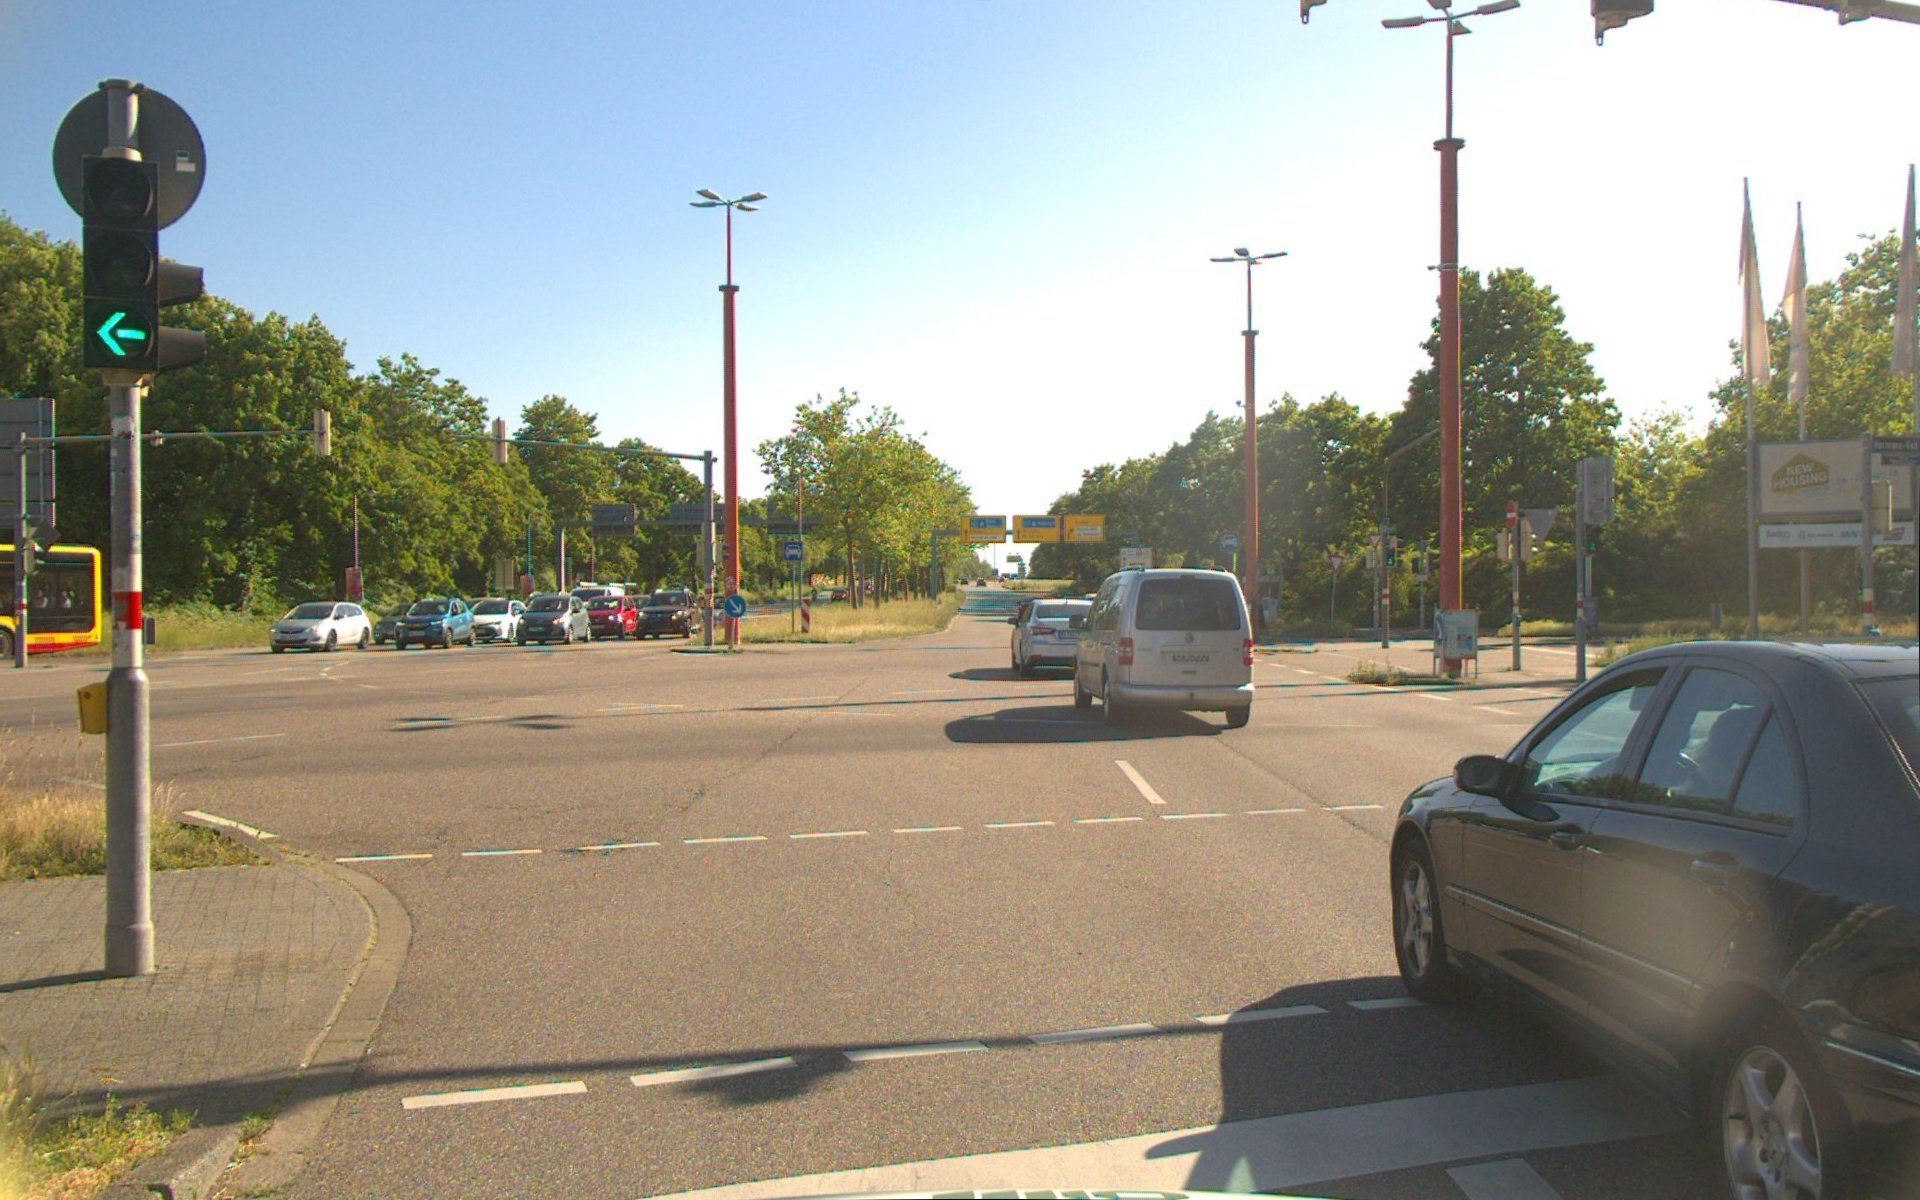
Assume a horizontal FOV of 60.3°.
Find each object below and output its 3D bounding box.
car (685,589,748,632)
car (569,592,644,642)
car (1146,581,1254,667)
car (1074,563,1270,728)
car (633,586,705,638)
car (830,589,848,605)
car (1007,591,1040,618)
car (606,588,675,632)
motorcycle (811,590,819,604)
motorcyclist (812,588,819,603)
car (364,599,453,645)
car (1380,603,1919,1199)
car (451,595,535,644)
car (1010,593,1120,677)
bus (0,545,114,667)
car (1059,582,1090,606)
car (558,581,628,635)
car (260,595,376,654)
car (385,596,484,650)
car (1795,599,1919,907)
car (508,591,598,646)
[{"bbox_3d":[-9.352,0.374,63.689,1.847,1.570,3.999,-2,0,-1],"label":"car"},{"bbox_3d":[-12.447,0.582,58.422,1.838,1.579,3.998,-3,0,-2],"label":"car"},{"bbox_3d":[5.609,0.517,39.247,1.767,1.884,5.102,-1,0,0],"label":"car"},{"bbox_3d":[2.553,0.524,20.974,1.768,1.853,4.585,0,0,-2],"label":"car"},{"bbox_3d":[-9.839,0.385,56.202,1.757,1.654,4.142,-2,0,-2],"label":"car"},{"bbox_3d":[-13.816,-0.359,188.987,1.876,1.878,3.960,0,0,-1],"label":"car"},{"bbox_3d":[3.583,0.272,93.687,1.727,1.466,4.295,1,0,1],"label":"car"},{"bbox_3d":[-12.407,0.366,64.422,1.862,1.658,4.000,0,0,1],"label":"car"},{"bbox_3d":[-17.377,-0.403,198.325,0.743,1.637,2.867,1,0,0],"label":"motorcycle"},{"bbox_3d":[-17.361,-0.486,198.322,0.757,1.768,0.916,1,0,0],"label":"motorcyclist"},{"bbox_3d":[-19.889,0.774,59.784,1.846,1.539,4.000,-1,0,0],"label":"car"},{"bbox_3d":[2.655,0.775,4.719,1.679,1.479,4.196,-1,0,-3],"label":"car"},{"bbox_3d":[-16.033,0.663,57.018,1.863,1.582,3.998,-1,0,-2],"label":"car"},{"bbox_3d":[2.020,0.661,32.934,1.768,1.519,4.681,1,0,-1],"label":"car"},{"bbox_3d":[-28.488,0.118,43.331,2.592,3.318,12.532,1,0,22],"label":"bus"},{"bbox_3d":[8.071,-0.409,116.833,1.728,1.664,4.297,1,0,-1],"label":"car"},{"bbox_3d":[-15.623,0.330,70.578,1.922,2.193,5.080,-1,0,-1],"label":"car"},{"bbox_3d":[-19.542,0.737,50.531,1.838,1.681,4.219,-1,0,0],"label":"car"},{"bbox_3d":[-16.104,0.682,50.867,1.764,1.542,3.858,-2,0,0],"label":"car"},{"bbox_3d":[5.663,0.774,7.390,1.731,1.534,4.225,1,0,0],"label":"car"},{"bbox_3d":[-12.770,0.551,52.079,1.836,1.577,4.027,-2,1,-1],"label":"car"}]
